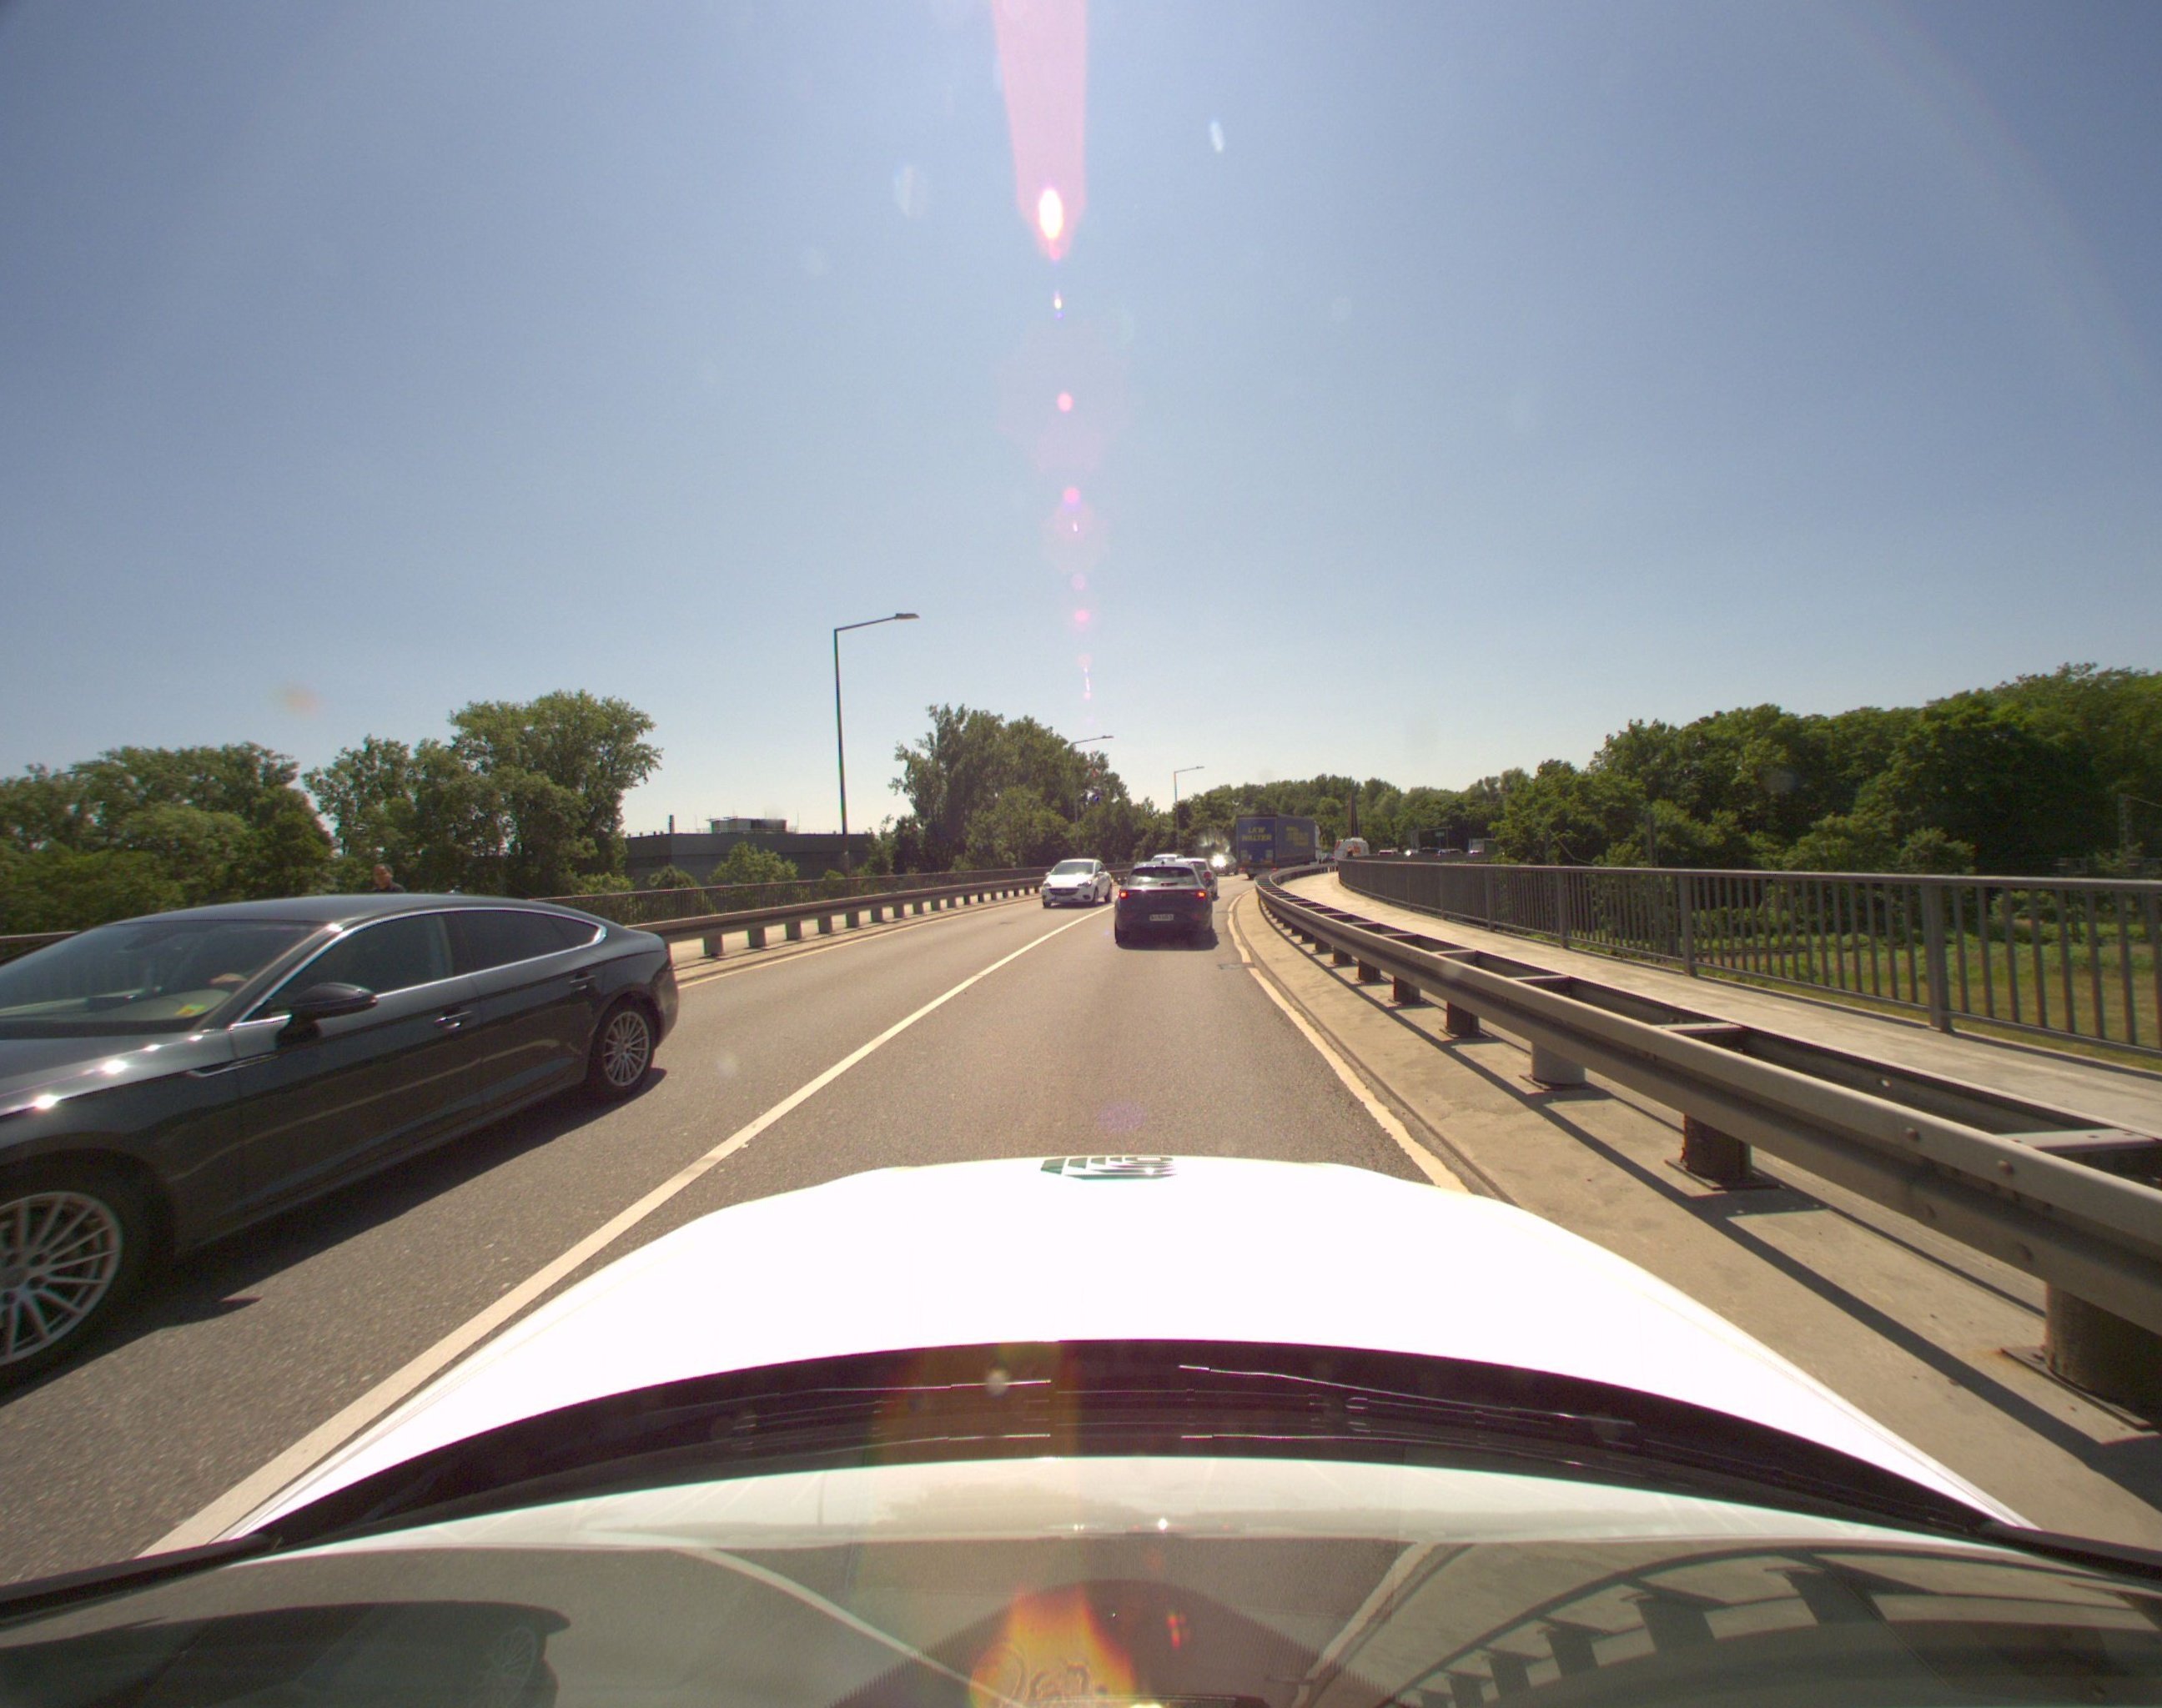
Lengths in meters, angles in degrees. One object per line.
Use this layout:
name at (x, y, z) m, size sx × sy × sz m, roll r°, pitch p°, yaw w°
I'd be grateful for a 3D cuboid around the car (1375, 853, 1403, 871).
car at (31.846, 0.840, 84.110) m, size 1.870 × 1.850 × 4.025 m, roll -1°, pitch -1°, yaw 34°

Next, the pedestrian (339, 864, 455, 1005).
pedestrian at (-7.971, 0.911, 9.515) m, size 0.711 × 1.561 × 0.696 m, roll -3°, pitch -1°, yaw 6°

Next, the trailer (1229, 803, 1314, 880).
trailer at (13.225, -0.692, 55.357) m, size 3.106 × 4.614 × 13.021 m, roll 0°, pitch -1°, yaw 25°

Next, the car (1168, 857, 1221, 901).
car at (4.114, 0.851, 29.268) m, size 1.582 × 1.461 × 3.557 m, roll 0°, pitch -1°, yaw 13°

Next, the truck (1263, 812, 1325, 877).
truck at (16.205, -0.617, 61.608) m, size 3.141 × 4.585 × 7.439 m, roll -1°, pitch -1°, yaw 26°

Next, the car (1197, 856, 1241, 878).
car at (10.132, 0.944, 59.532) m, size 1.869 × 1.497 × 4.341 m, roll -2°, pitch -1°, yaw 27°

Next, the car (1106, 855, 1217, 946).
car at (1.473, 0.780, 15.445) m, size 1.837 × 1.499 × 3.762 m, roll -1°, pitch 0°, yaw 4°

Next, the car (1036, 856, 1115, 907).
car at (-0.103, 0.848, 26.285) m, size 1.714 × 1.483 × 3.878 m, roll -2°, pitch -1°, yaw 12°

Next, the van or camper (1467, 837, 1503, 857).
van or camper at (56.745, -0.961, 114.429) m, size 4.983 × 2.292 × 2.465 m, roll 4°, pitch 1°, yaw -39°

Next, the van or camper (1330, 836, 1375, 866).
van or camper at (25.202, -0.274, 75.399) m, size 2.181 × 2.711 × 5.963 m, roll -1°, pitch 0°, yaw 36°

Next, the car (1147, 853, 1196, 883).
car at (5.394, 0.801, 48.238) m, size 1.700 × 1.615 × 4.141 m, roll -2°, pitch -1°, yaw 23°

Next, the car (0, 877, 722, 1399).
car at (-3.828, 0.881, 4.041) m, size 1.781 × 1.415 × 4.579 m, roll -2°, pitch -1°, yaw 4°

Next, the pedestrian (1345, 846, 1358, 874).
pedestrian at (18.568, 0.416, 55.882) m, size 0.730 × 1.967 × 0.738 m, roll -1°, pitch -1°, yaw 25°
